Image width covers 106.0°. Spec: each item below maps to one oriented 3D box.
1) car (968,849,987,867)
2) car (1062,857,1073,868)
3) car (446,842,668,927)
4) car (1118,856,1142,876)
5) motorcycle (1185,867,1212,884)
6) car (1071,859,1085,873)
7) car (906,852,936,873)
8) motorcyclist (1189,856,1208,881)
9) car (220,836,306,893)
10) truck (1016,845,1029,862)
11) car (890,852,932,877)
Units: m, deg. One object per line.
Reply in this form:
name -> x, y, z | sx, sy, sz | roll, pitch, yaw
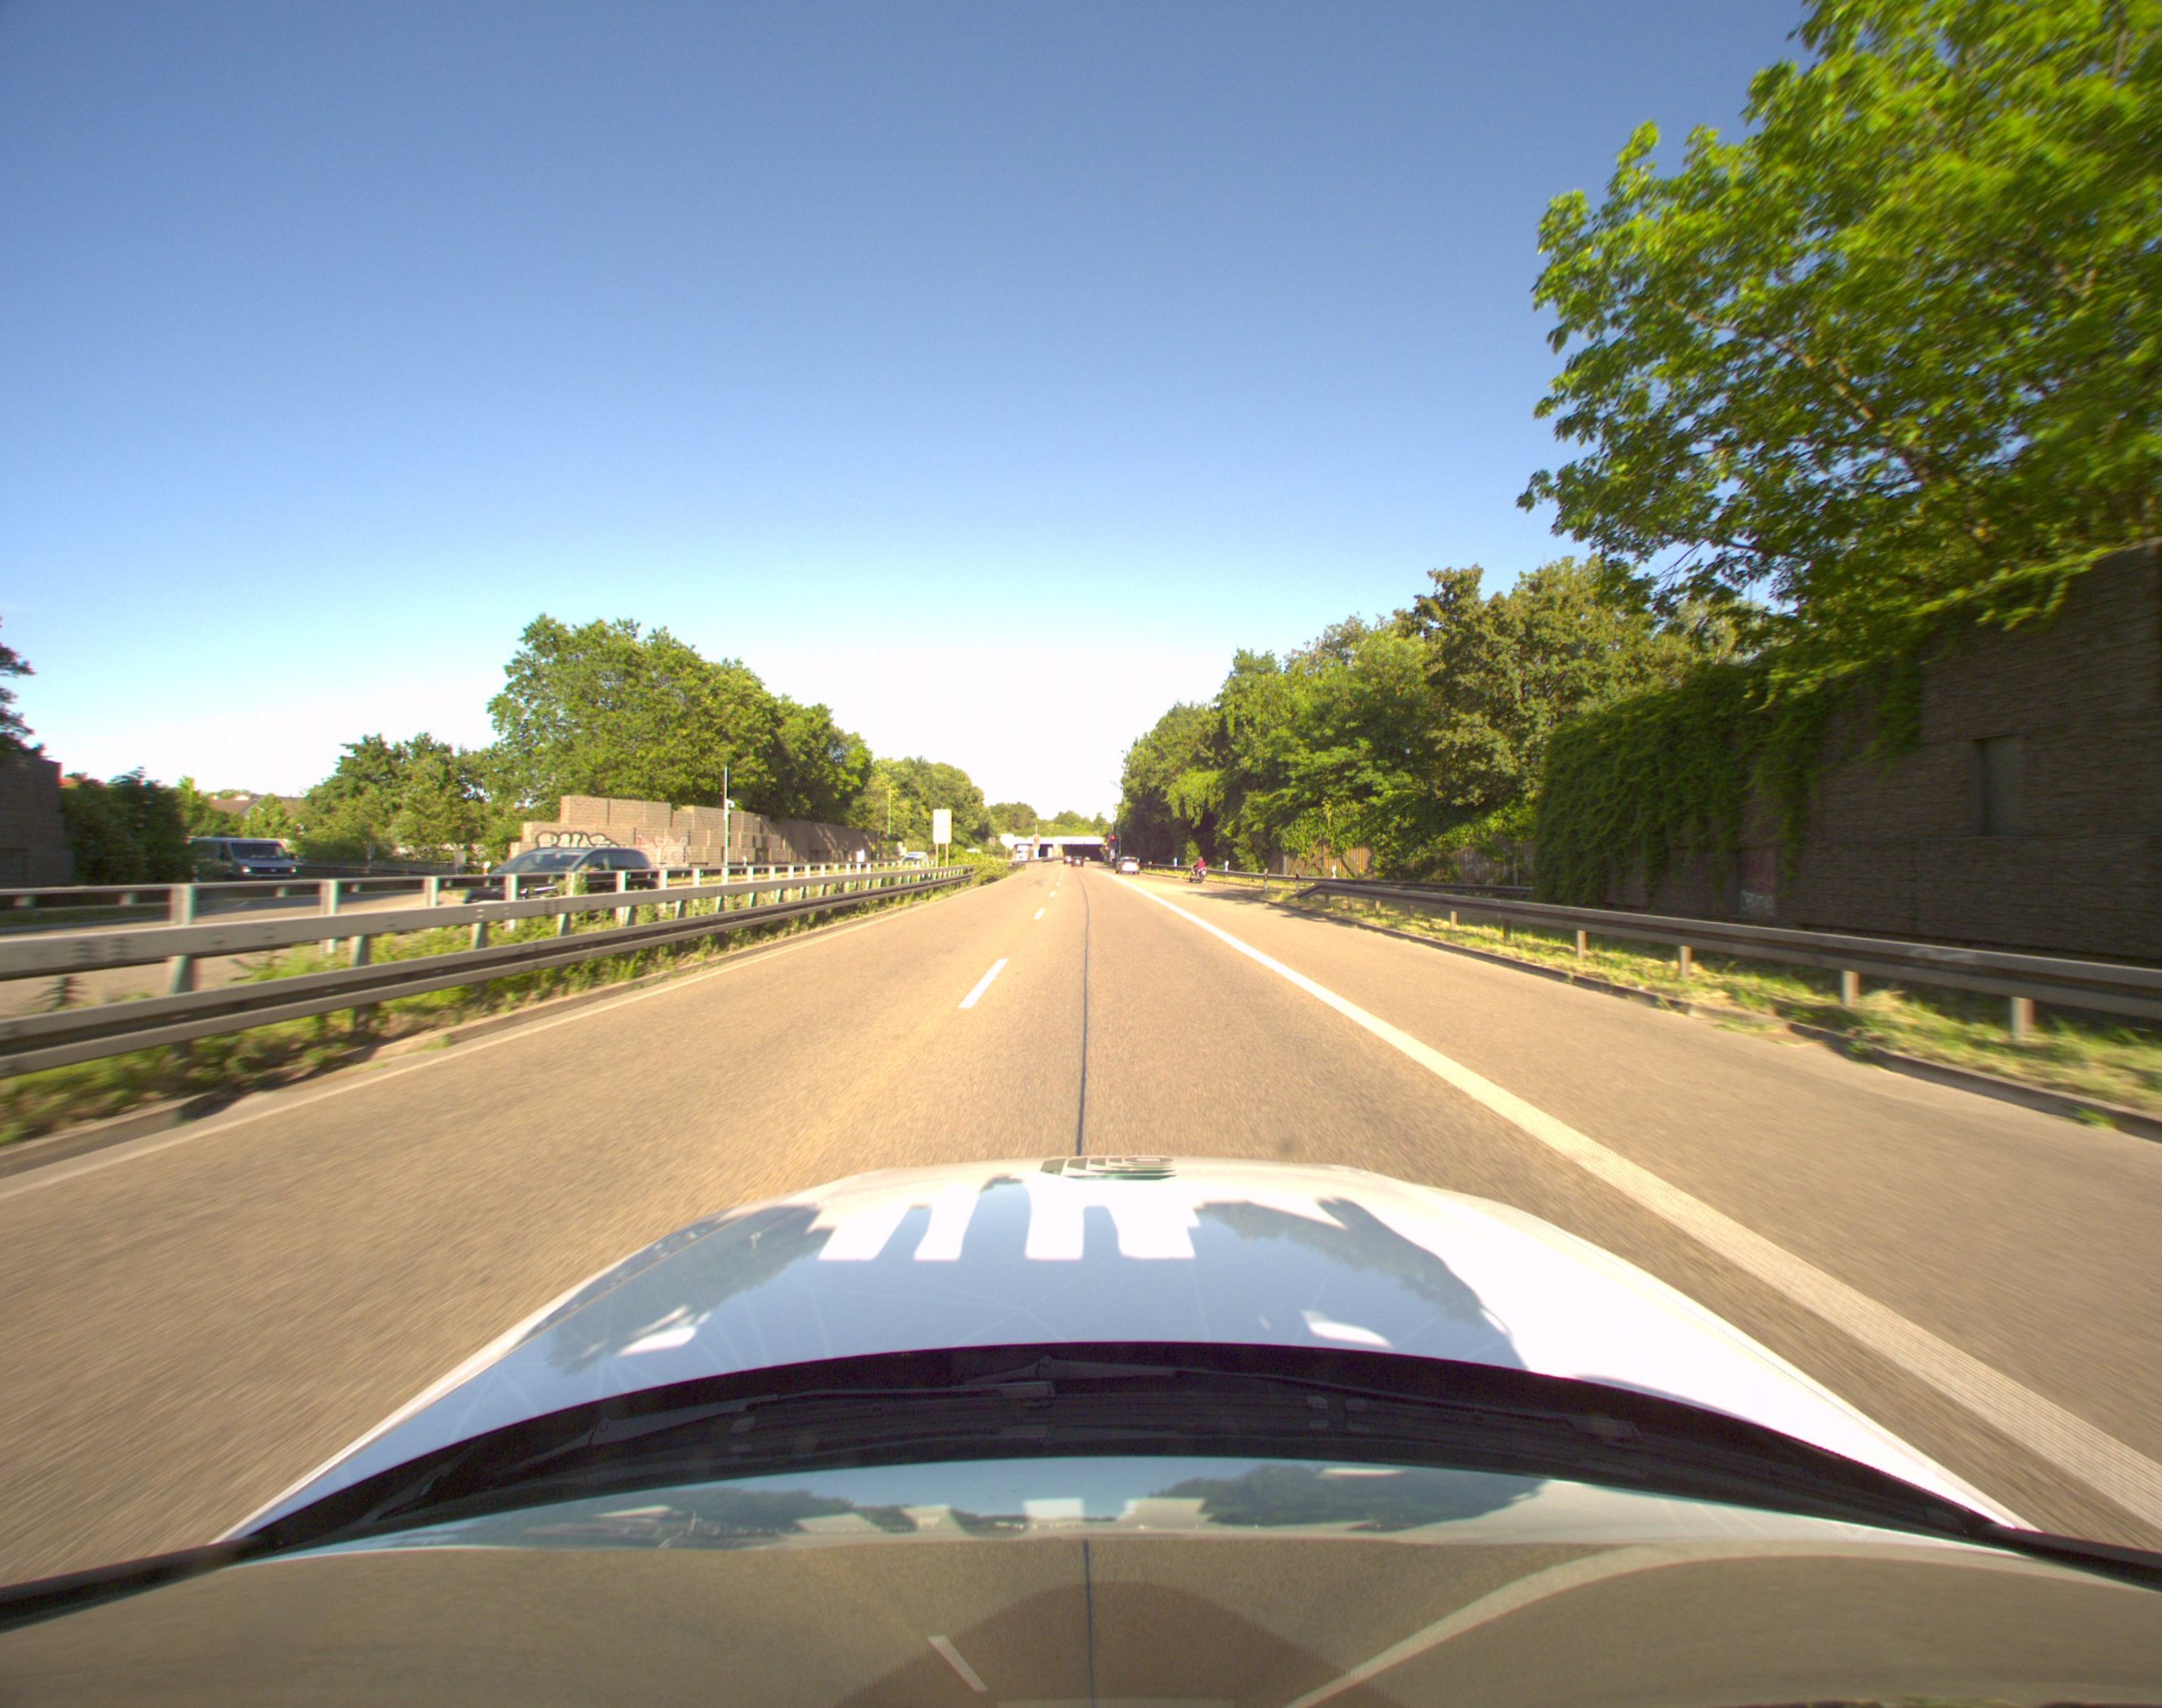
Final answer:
car -> -15.966, 0.650, 125.498 | 2.141, 2.611, 6.049 | 2, 1, -1
car -> -2.410, 1.621, 149.656 | 1.988, 1.925, 3.998 | 1, 0, -1
car -> -10.971, 0.551, 17.510 | 1.987, 1.579, 4.247 | -1, 1, 0
car -> 4.154, 0.985, 69.517 | 1.662, 1.552, 3.999 | 2, 1, 0
motorcycle -> 7.231, 1.309, 50.067 | 0.858, 0.991, 2.720 | 2, -1, -9
car -> -0.418, 1.698, 119.886 | 1.988, 1.925, 3.998 | 1, 0, -1
car -> -14.827, 0.728, 75.640 | 1.816, 1.821, 4.620 | 2, 1, 0
motorcyclist -> 7.233, 0.872, 50.128 | 0.883, 1.501, 1.059 | 2, 0, -10
car -> -36.729, 0.430, 36.538 | 5.306, 2.280, 2.096 | 2, 1, 38
truck -> -15.213, -0.180, 212.211 | 2.727, 4.261, 6.387 | 2, 1, 0
car -> -11.154, 0.662, 53.571 | 1.817, 1.480, 4.619 | 2, 1, -1
